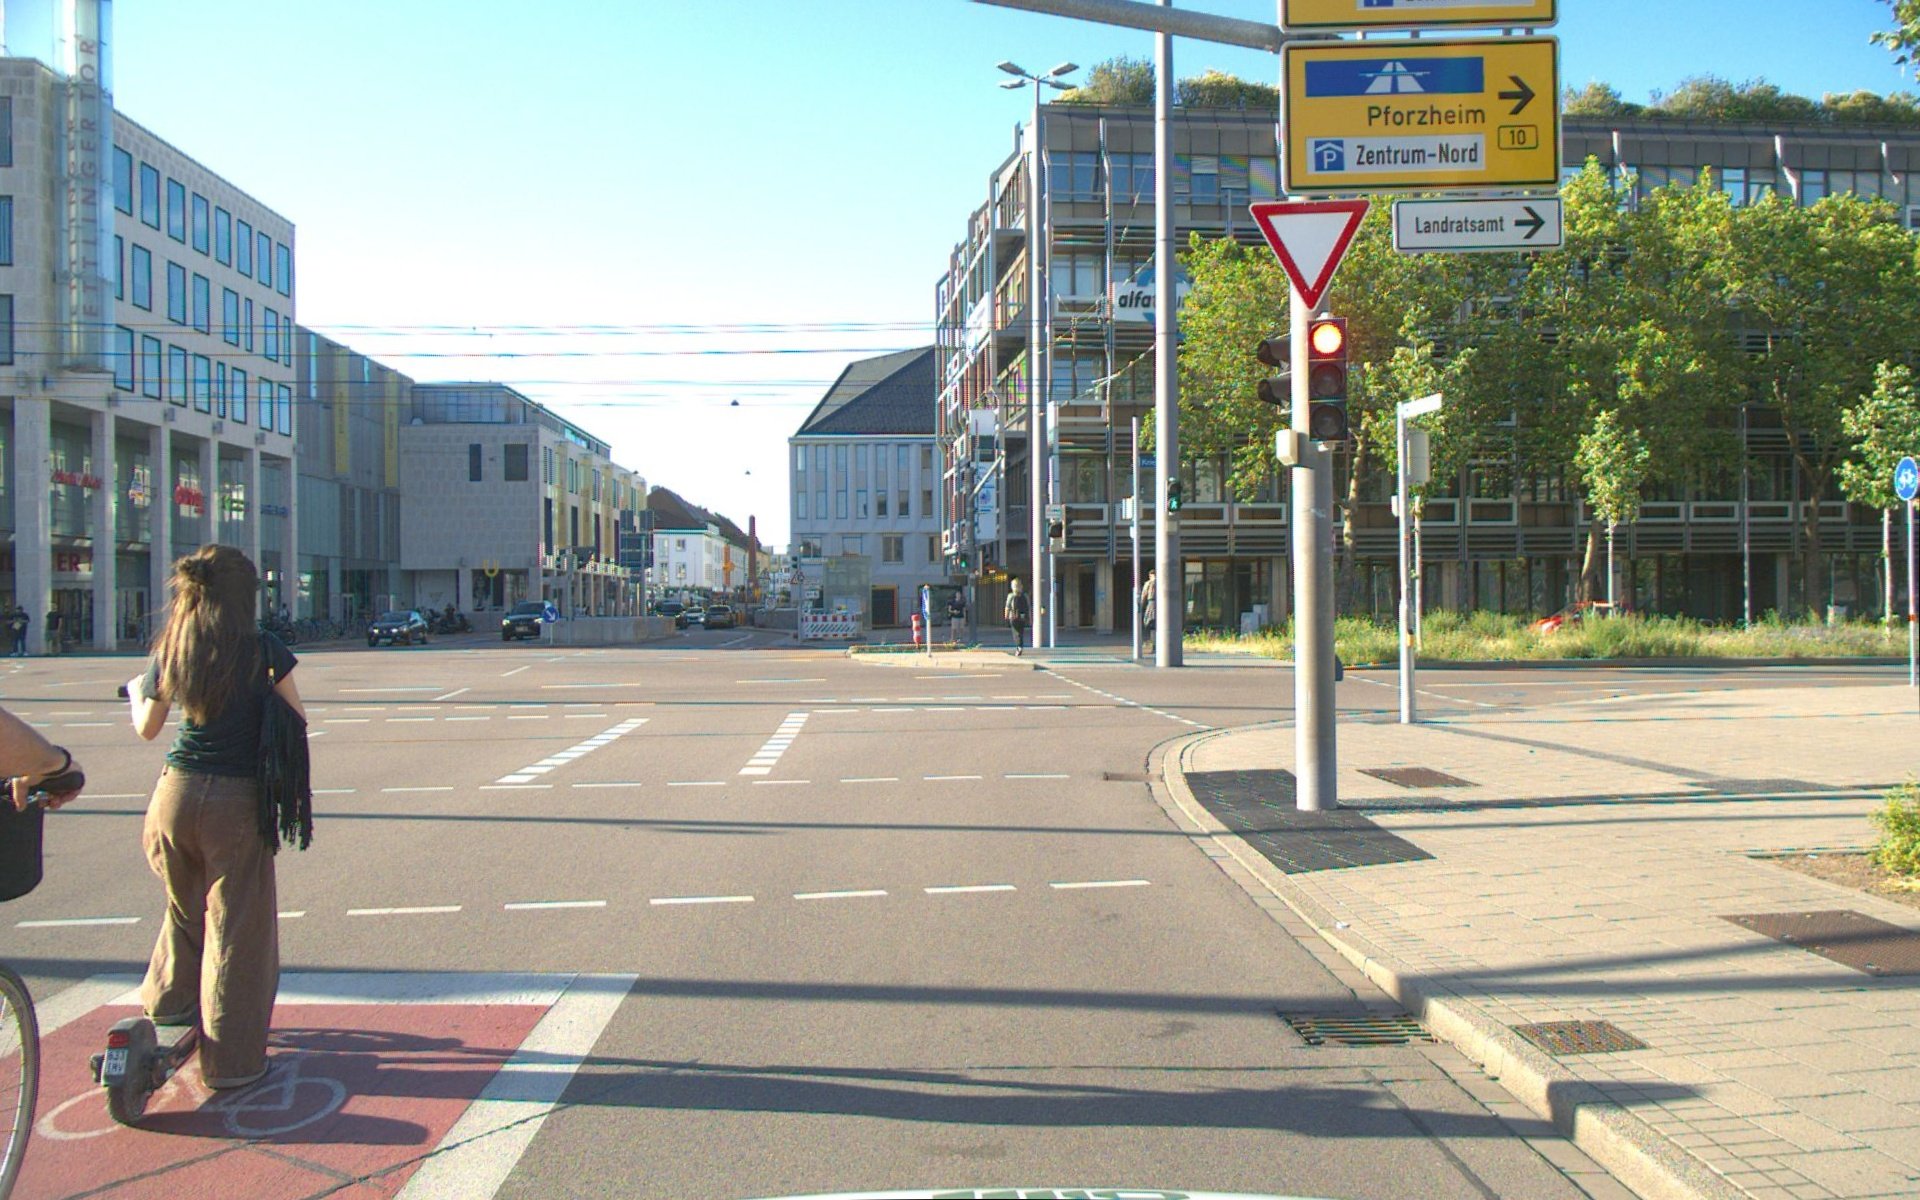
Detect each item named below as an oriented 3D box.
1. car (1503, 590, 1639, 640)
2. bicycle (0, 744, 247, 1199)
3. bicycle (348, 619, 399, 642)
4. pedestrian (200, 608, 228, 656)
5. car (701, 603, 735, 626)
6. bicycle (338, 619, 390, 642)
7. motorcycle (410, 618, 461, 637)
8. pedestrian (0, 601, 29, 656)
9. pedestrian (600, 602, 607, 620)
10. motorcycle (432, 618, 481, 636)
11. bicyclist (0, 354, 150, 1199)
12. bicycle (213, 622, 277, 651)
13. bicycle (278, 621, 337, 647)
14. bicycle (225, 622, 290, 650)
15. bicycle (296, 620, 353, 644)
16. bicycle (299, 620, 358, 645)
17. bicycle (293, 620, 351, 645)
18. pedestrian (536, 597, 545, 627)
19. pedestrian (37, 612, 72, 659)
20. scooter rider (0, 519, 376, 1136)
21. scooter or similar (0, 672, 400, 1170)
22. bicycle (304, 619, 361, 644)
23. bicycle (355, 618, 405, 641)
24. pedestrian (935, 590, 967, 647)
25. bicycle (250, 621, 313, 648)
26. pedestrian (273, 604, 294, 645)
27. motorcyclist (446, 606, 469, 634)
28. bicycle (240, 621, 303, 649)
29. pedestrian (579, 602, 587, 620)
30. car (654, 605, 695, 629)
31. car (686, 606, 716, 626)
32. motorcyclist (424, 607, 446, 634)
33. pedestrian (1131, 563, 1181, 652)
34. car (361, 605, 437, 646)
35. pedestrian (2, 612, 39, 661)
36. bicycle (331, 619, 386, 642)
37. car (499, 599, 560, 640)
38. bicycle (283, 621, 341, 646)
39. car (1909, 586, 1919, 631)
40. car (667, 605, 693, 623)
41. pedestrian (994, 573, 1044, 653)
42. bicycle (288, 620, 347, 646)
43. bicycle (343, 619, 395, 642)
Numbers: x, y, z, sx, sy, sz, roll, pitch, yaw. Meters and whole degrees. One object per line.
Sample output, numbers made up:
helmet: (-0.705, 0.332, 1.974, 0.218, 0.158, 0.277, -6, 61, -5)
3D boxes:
car: (20.362, 0.519, 55.200, 3.793, 1.512, 1.843, -1, -3, -7)
bicycle: (-1.971, 0.898, 2.930, 0.692, 1.113, 1.799, -1, 0, -2)
bicycle: (-30.328, 1.559, 85.511, 2.417, 1.130, 0.631, -1, 0, 0)
pedestrian: (-27.753, 1.182, 61.539, 0.736, 1.770, 0.756, 0, 0, -3)
car: (-15.795, 0.976, 108.088, 1.898, 1.475, 4.258, 0, -1, -4)
bicycle: (-30.323, 1.540, 84.141, 2.417, 1.130, 0.660, -1, 0, 0)
motorcycle: (-29.737, 1.582, 93.885, 2.617, 1.013, 0.915, 1, 0, -8)
pedestrian: (-35.479, 1.052, 61.819, 0.898, 2.049, 1.020, 0, 0, -13)
pedestrian: (-27.751, 0.846, 128.686, 0.479, 1.380, 0.563, 1, -1, -7)
motorcycle: (-29.610, 1.598, 97.335, 2.617, 1.013, 0.915, 1, 0, -8)
bicyclist: (-1.982, 0.433, 2.956, 0.685, 1.698, 0.786, -1, 0, -3)
bicycle: (-29.437, 1.508, 68.102, 2.354, 1.132, 0.658, -1, 0, -1)
bicycle: (-29.573, 1.520, 74.969, 2.417, 1.130, 0.593, -1, 0, 0)
bicycle: (-29.483, 1.501, 69.447, 2.417, 1.130, 0.684, -1, 0, -1)
bicycle: (-30.234, 1.524, 78.738, 2.417, 1.130, 0.684, -1, 0, 0)
bicycle: (-29.705, 1.522, 77.833, 2.417, 1.130, 0.835, -1, 0, 0)
bicycle: (-29.676, 1.520, 76.969, 2.417, 1.130, 0.684, -1, 0, 0)
pedestrian: (-29.413, 0.846, 116.010, 0.606, 2.049, 0.476, 1, -1, -16)
pedestrian: (-31.265, 1.223, 57.097, 0.937, 1.598, 0.829, 0, 0, -40)
scooter rider: (-2.184, 0.580, 4.794, 0.629, 1.571, 1.116, 1, 0, -4)
scooter or similar: (-2.211, 0.850, 4.962, 0.629, 1.196, 1.482, 1, 0, -4)
bicycle: (-30.347, 1.527, 79.988, 2.417, 1.130, 0.835, -1, 0, 0)
bicycle: (-30.429, 1.552, 86.795, 2.417, 1.130, 0.660, -1, 0, 0)
pedestrian: (-0.301, 0.622, 57.326, 0.990, 1.944, 1.051, 0, 0, 5)
bicycle: (-29.382, 1.487, 71.623, 2.417, 1.130, 0.684, -1, 0, 0)
pedestrian: (-33.452, 1.203, 81.789, 0.933, 2.017, 1.000, 0, 0, -25)
motorcyclist: (-29.580, 1.165, 97.354, 1.115, 1.602, 0.915, 1, -1, -8)
bicycle: (-29.462, 1.503, 70.813, 2.416, 1.130, 0.684, -1, 0, 1)
pedestrian: (-28.921, 0.818, 126.827, 0.479, 1.380, 0.563, 1, -1, -7)
car: (-21.072, 1.225, 122.298, 2.130, 1.722, 5.485, 0, -1, -1)
car: (-22.867, 1.381, 146.140, 2.131, 1.722, 5.611, 0, -1, -4)
motorcyclist: (-29.810, 1.175, 93.866, 1.017, 1.497, 0.915, 1, 0, -8)
pedestrian: (3.988, 0.141, 33.693, 0.839, 1.774, 0.738, -1, 1, -9)
car: (-23.580, 1.043, 69.662, 1.899, 1.608, 4.292, -1, 0, -3)
pedestrian: (-32.956, 1.272, 58.020, 0.998, 1.680, 0.935, 0, 0, -40)
bicycle: (-30.307, 1.547, 83.349, 2.417, 1.130, 0.835, -1, 0, 0)
car: (-18.794, 0.849, 72.341, 1.900, 1.707, 4.289, -1, 0, -5)
bicycle: (-29.592, 1.522, 75.555, 2.417, 1.130, 0.537, -1, 0, 0)
car: (38.420, 0.321, 62.019, 4.764, 1.709, 1.996, 0, 1, -10)
car: (-29.126, 1.480, 172.287, 2.131, 1.906, 5.609, 0, -1, -5)
pedestrian: (1.191, 0.253, 33.678, 0.879, 1.576, 0.922, -1, 1, -7)
bicycle: (-29.601, 1.526, 76.195, 2.417, 1.130, 0.684, -1, 0, 0)
bicycle: (-30.305, 1.549, 84.865, 2.417, 1.130, 0.660, -1, 0, 0)
